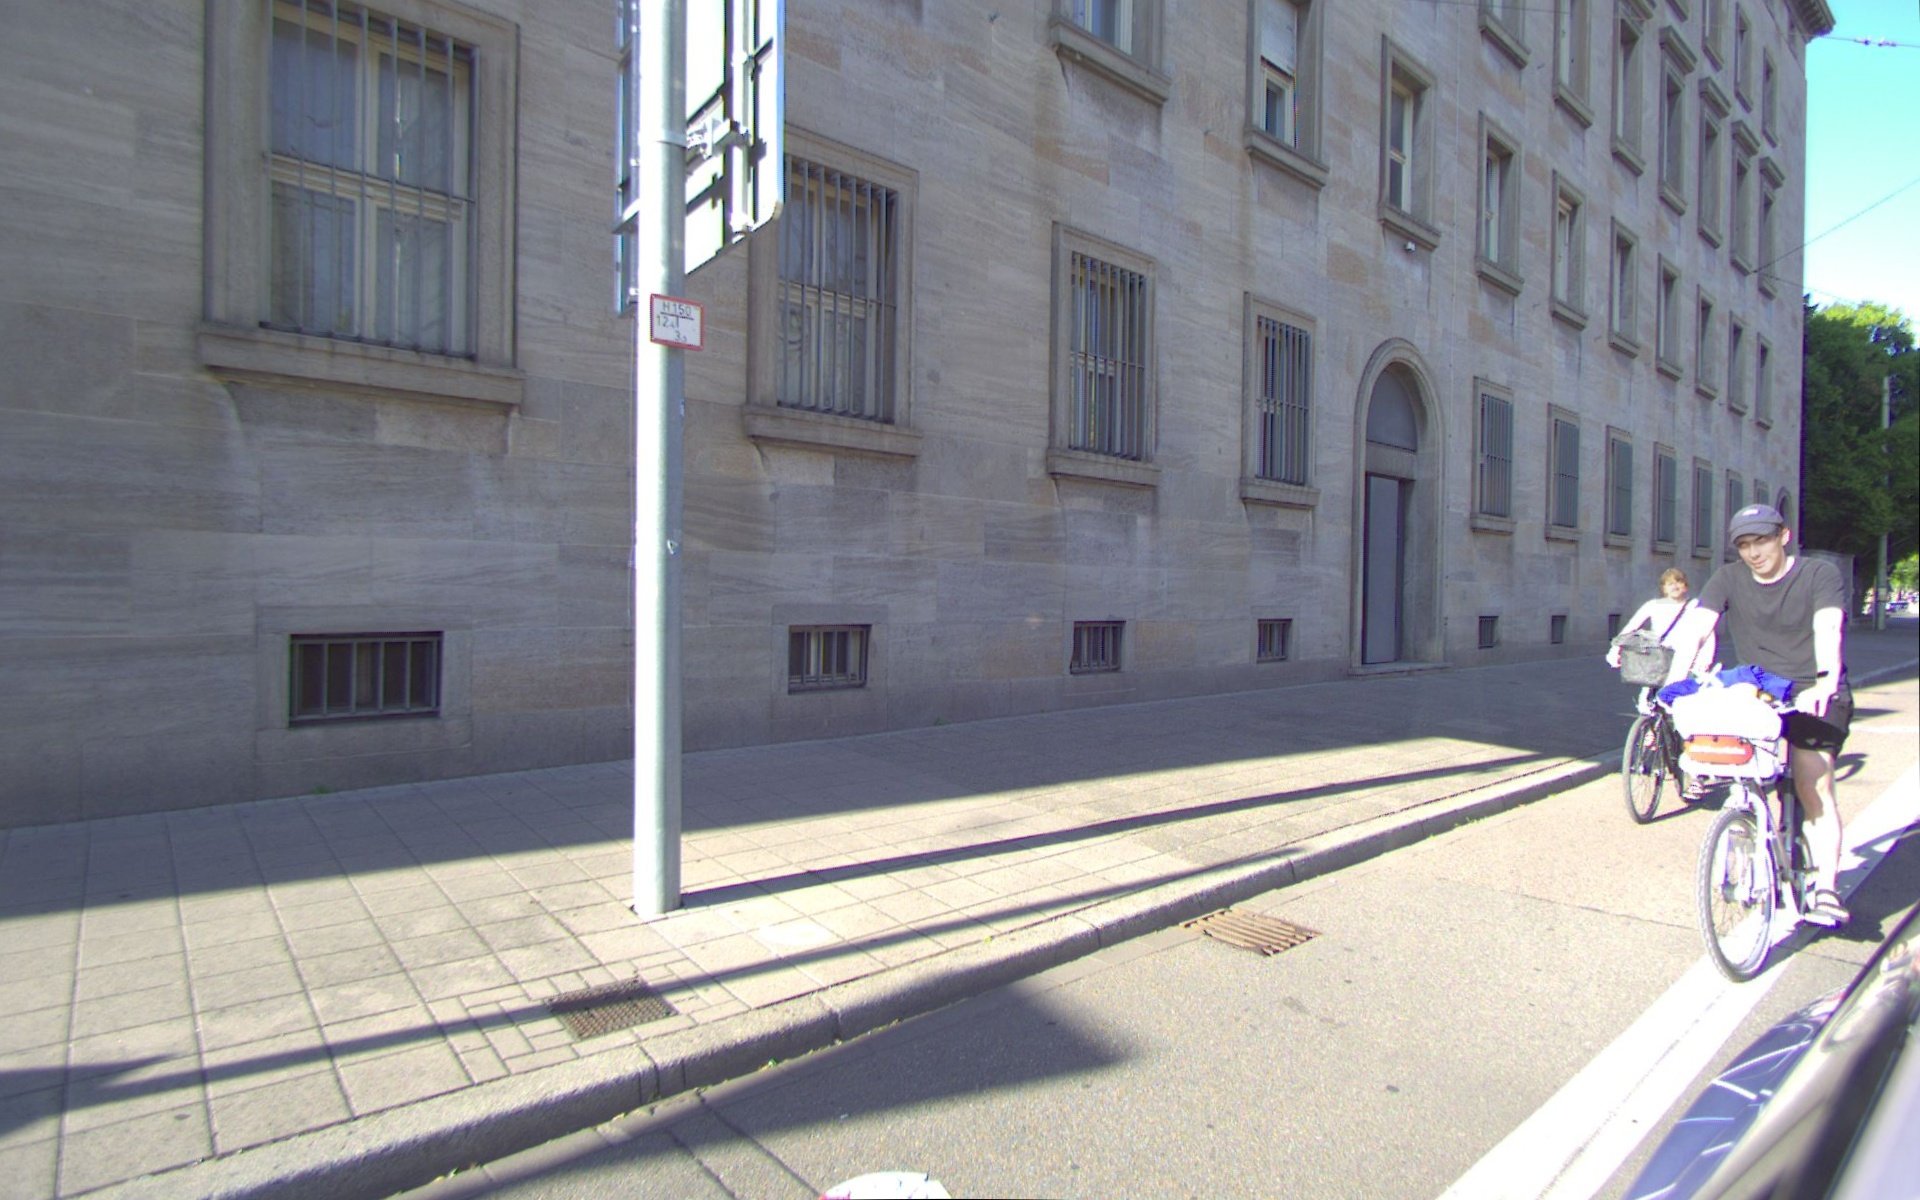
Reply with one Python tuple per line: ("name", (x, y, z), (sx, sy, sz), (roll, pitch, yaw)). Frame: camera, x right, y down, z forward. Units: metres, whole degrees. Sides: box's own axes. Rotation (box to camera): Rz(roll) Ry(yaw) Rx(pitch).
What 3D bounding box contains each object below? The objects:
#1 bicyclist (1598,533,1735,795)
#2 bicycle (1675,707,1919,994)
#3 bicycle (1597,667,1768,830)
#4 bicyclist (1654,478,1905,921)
("bicyclist", (4.909, 0.409, 7.028), (0.843, 1.700, 0.523), (0, 1, -38))
("bicycle", (3.804, 1.001, 4.423), (1.912, 0.916, 0.391), (0, 1, -32))
("bicycle", (5.022, 0.961, 6.987), (1.915, 0.887, 0.428), (0, 1, -38))
("bicyclist", (3.505, 0.375, 4.341), (0.644, 1.699, 0.672), (0, 1, -36))
